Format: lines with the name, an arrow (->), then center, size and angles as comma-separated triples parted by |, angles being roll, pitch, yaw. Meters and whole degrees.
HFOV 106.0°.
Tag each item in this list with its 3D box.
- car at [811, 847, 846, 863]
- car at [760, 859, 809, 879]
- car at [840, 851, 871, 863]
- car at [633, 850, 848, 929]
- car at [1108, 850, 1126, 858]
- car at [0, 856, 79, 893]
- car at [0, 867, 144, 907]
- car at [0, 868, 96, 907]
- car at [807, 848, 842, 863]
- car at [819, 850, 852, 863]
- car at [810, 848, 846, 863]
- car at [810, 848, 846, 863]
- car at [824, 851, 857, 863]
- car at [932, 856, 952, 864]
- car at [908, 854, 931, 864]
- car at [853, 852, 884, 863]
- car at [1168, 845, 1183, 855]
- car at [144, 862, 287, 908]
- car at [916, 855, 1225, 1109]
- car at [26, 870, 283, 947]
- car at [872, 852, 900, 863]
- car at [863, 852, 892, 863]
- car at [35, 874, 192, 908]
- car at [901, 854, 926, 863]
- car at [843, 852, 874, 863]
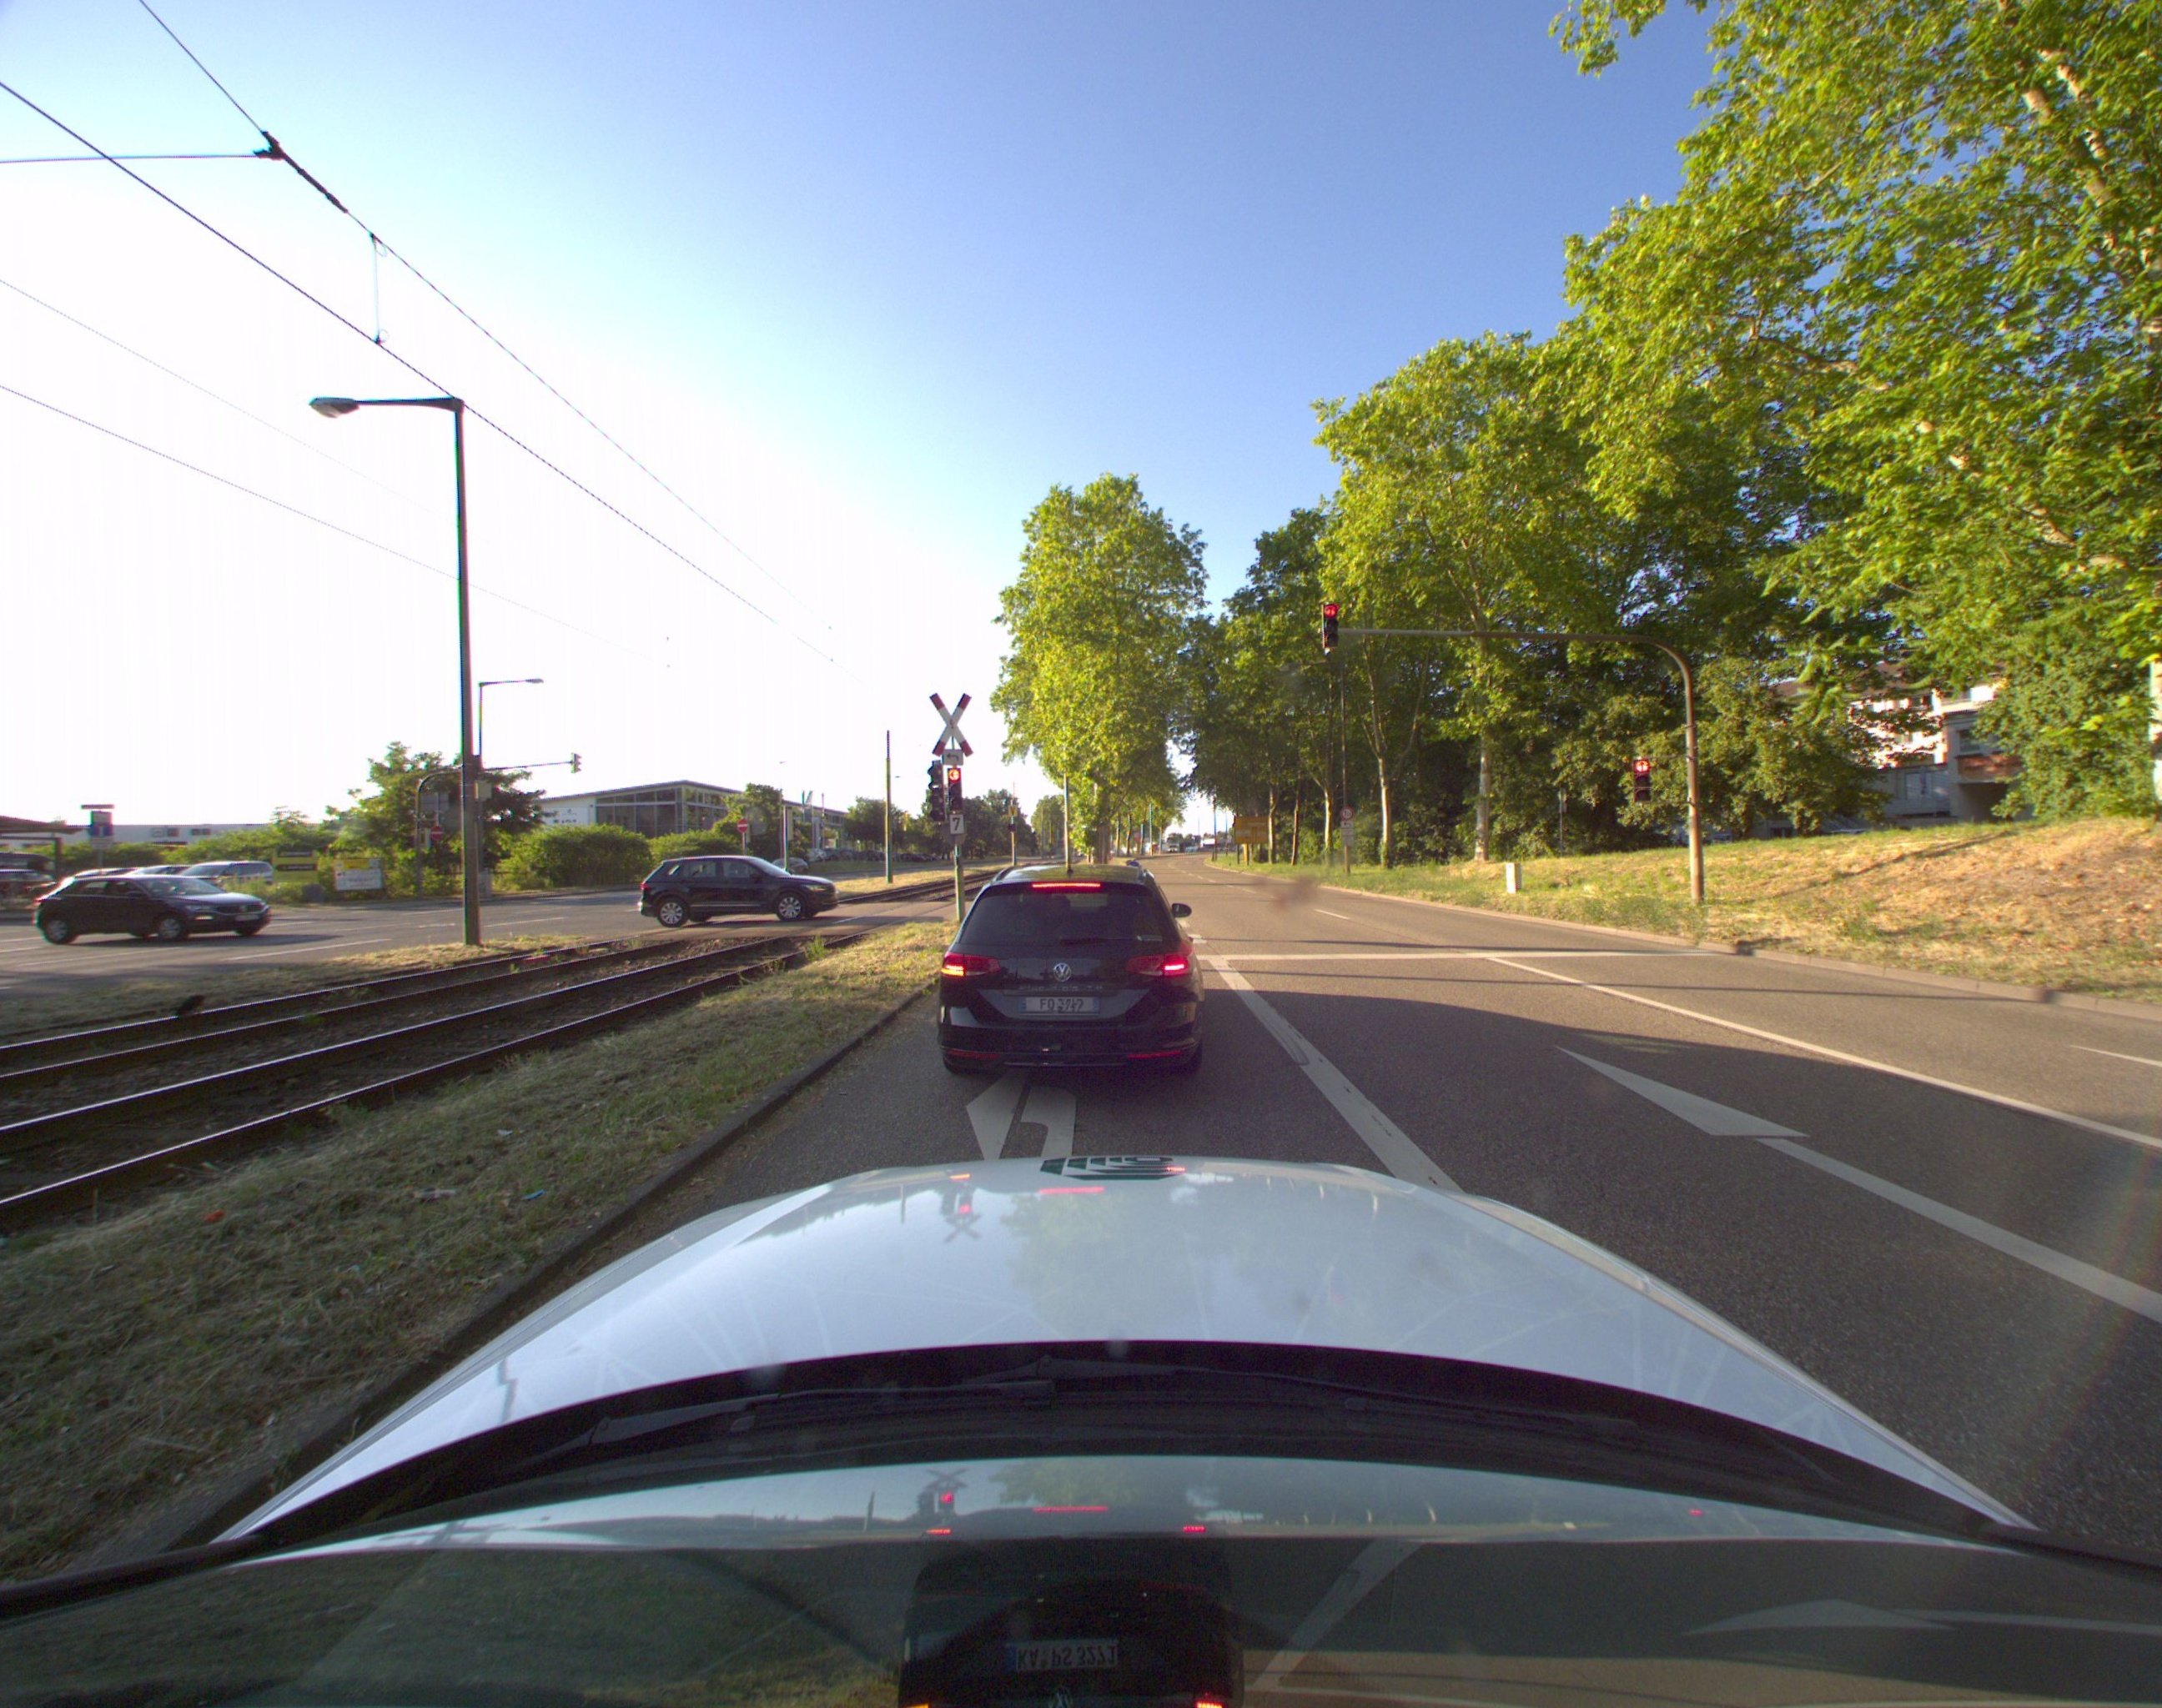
car -> -30.601, 0.135, 98.748 | 3.999, 1.816, 1.732 | -1, 0, -19
car -> -22.712, 1.132, 62.601 | 1.852, 1.481, 4.179 | 0, 0, 6
car -> -31.227, 0.444, 112.617 | 3.999, 1.556, 1.732 | -1, 0, -19
car -> -8.111, 0.819, 19.759 | 4.347, 1.635, 1.876 | -2, 0, -4
car -> 6.654, -0.028, 151.740 | 1.845, 1.481, 4.115 | 0, 0, 25
car -> -60.418, 1.161, 45.914 | 1.855, 2.014, 4.773 | 0, 0, 2
car -> -44.707, 1.411, 35.902 | 1.855, 1.583, 4.174 | 0, 0, 2
car -> -47.157, 1.460, 36.055 | 1.970, 1.583, 4.174 | 0, 0, 2
car -> -31.644, 0.137, 100.529 | 3.999, 1.816, 1.732 | -1, 0, -19
car -> -31.150, 0.307, 103.428 | 3.999, 1.556, 1.732 | -1, 0, -19
car -> -29.949, 0.170, 96.393 | 3.999, 1.704, 1.732 | -1, 0, -19
car -> -29.260, 0.152, 94.125 | 3.999, 1.704, 1.732 | -1, 0, -19
car -> -31.364, 0.351, 106.219 | 3.999, 1.556, 1.732 | -1, 0, -19
car -> -28.811, 1.191, 168.930 | 3.977, 1.556, 1.742 | -1, 0, -2
car -> -29.104, 0.873, 146.850 | 3.978, 1.621, 1.742 | -1, 0, -3
car -> -31.004, 0.527, 118.835 | 3.980, 1.556, 1.741 | -1, 0, -5
car -> 21.787, -0.925, 187.001 | 2.078, 2.461, 5.881 | 0, 0, 19
car -> -38.520, 1.329, 36.421 | 1.855, 1.821, 4.174 | 0, 0, 2
car -> -0.015, 0.748, 6.534 | 1.788, 1.464, 3.584 | 0, 0, 1
car -> -21.900, 1.259, 19.367 | 4.137, 1.560, 1.714 | -2, 1, 1
car -> -30.118, 0.596, 125.958 | 3.978, 1.621, 1.742 | -1, 0, -3
car -> -30.606, 0.552, 122.756 | 3.978, 1.621, 1.742 | -1, 0, -3
car -> -42.468, 1.570, 35.899 | 1.855, 1.267, 4.174 | 0, 0, 2
car -> -28.764, 0.774, 139.681 | 3.978, 1.621, 1.742 | -1, 0, -3
car -> -31.436, 0.482, 115.324 | 3.983, 1.556, 1.739 | -1, 0, -7
